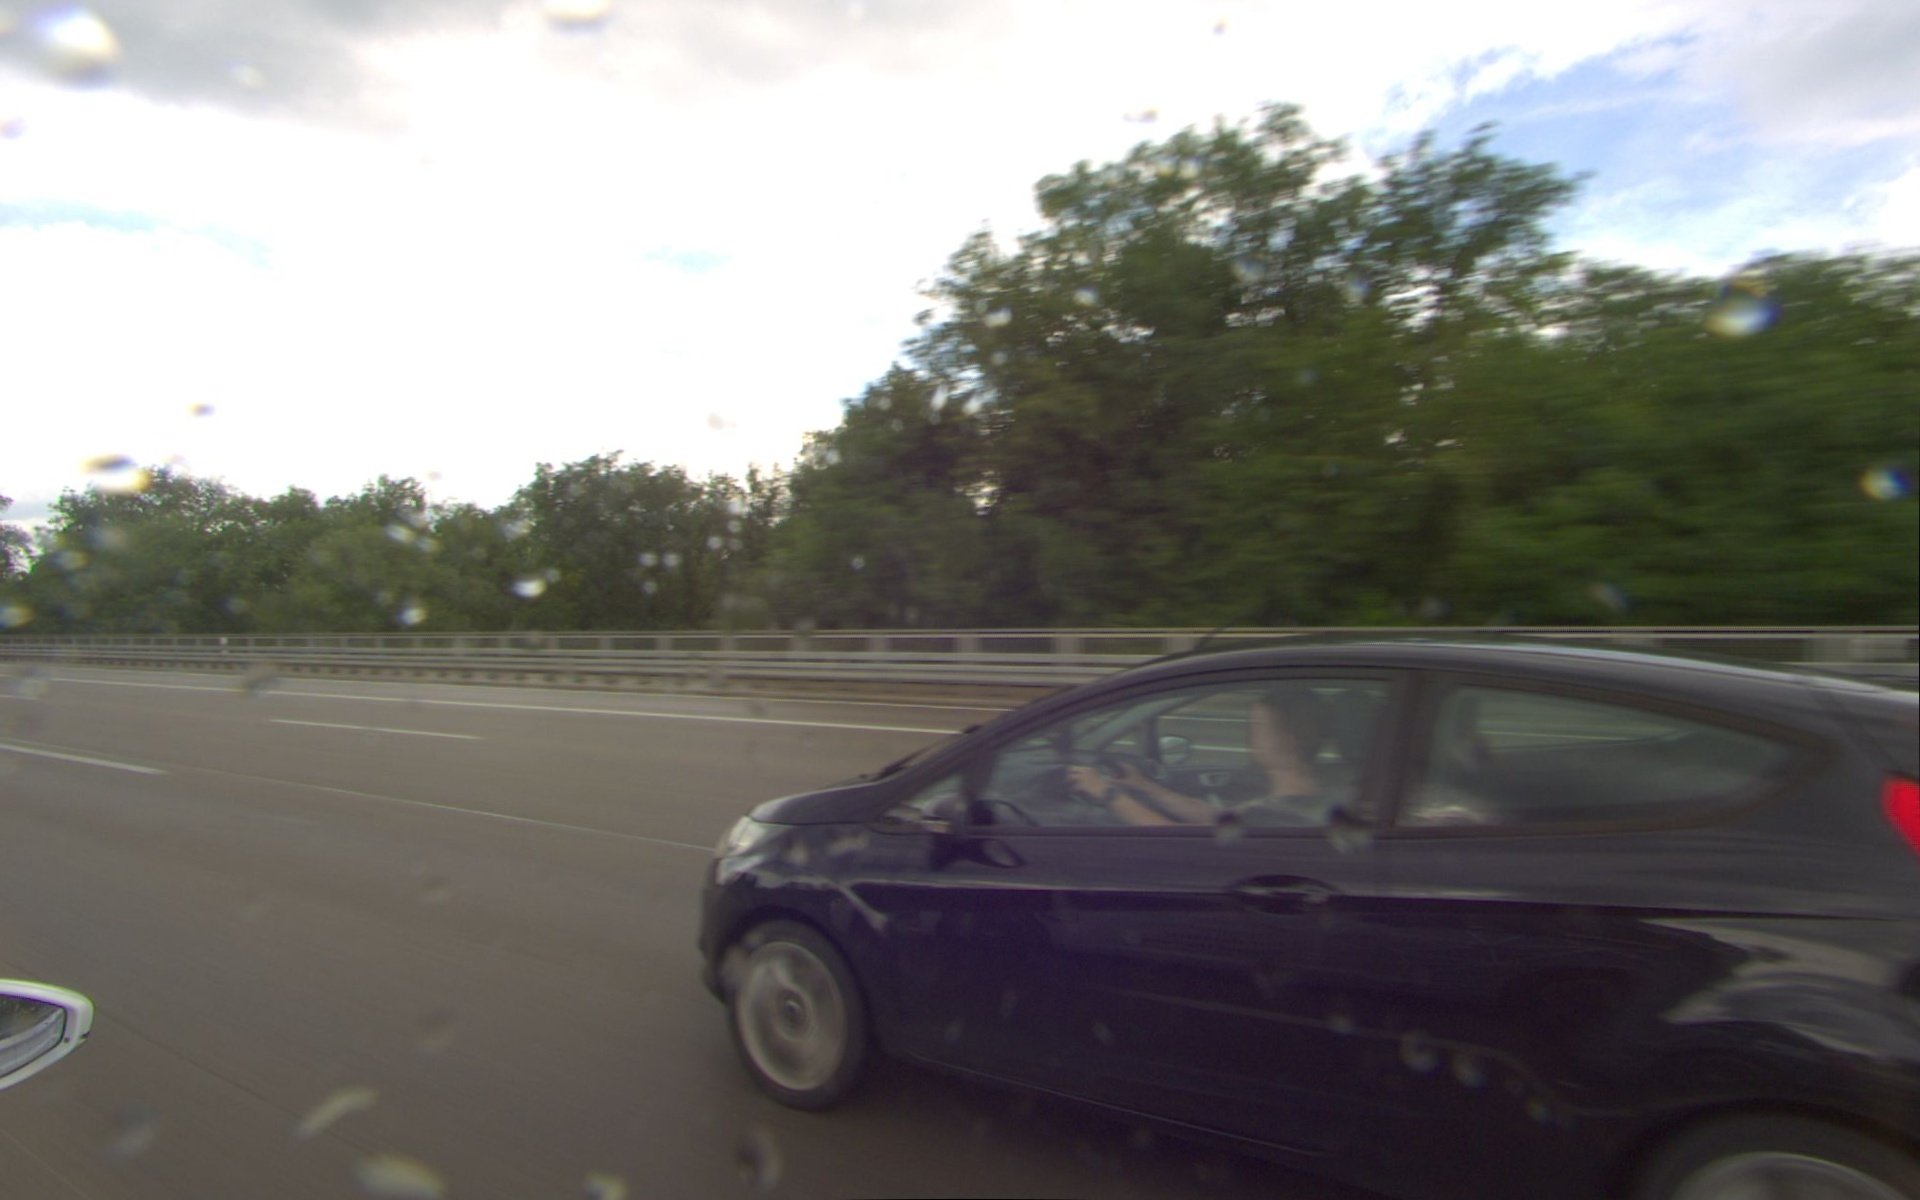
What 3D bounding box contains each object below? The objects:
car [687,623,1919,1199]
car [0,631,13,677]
[{"bbox_3d":[1.401,0.797,2.803,4.341,1.458,1.661,-1,-1,31],"label":"car"},{"bbox_3d":[-34.537,1.844,34.464,4.295,1.563,1.812,-1,-1,32],"label":"car"}]
